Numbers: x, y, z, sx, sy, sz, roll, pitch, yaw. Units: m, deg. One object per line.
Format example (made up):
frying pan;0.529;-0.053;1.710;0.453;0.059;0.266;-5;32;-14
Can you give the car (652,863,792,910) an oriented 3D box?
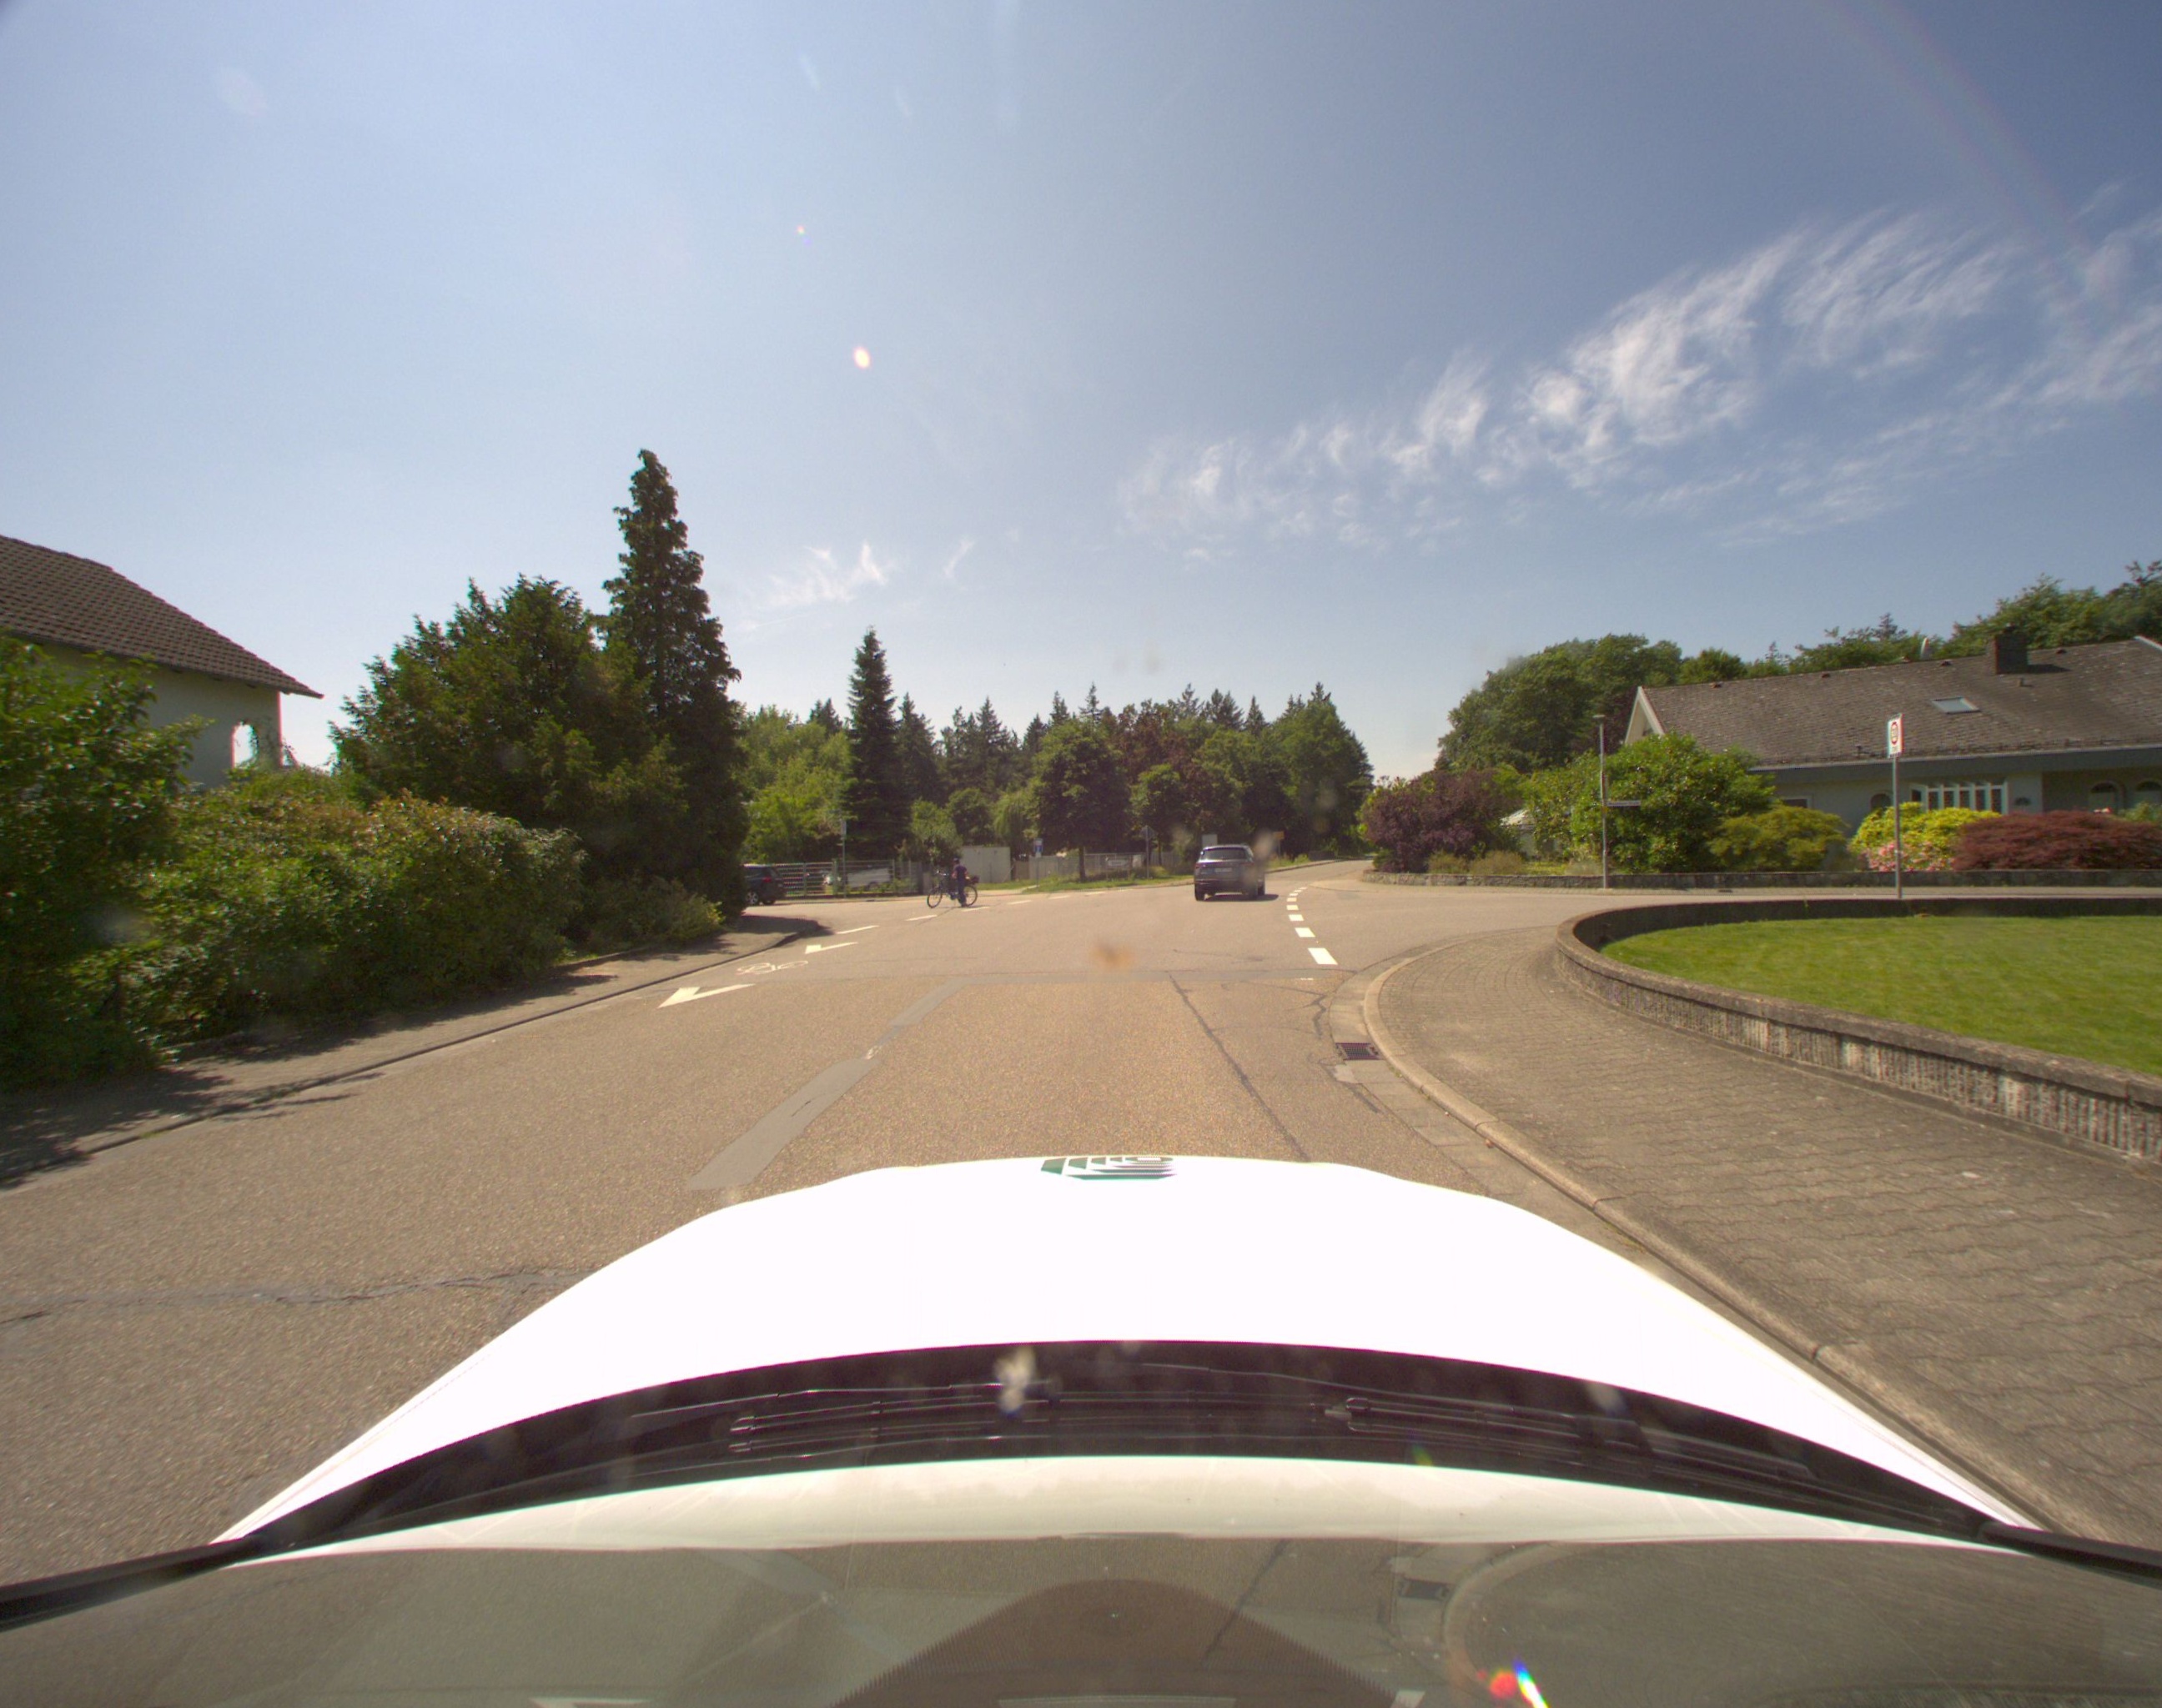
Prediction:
car;-14.238;1.275;32.504;4.651;1.662;1.969;-2;0;0

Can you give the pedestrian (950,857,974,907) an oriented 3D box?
pedestrian;-3.657;0.856;25.062;0.611;1.501;0.501;-2;0;-18

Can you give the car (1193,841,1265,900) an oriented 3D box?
car;4.527;0.464;24.454;1.749;1.618;4.017;-1;0;16

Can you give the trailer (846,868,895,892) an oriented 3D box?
trailer;-10.357;1.278;40.133;2.214;1.084;1.103;-2;0;-8

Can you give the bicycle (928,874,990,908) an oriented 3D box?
bicycle;-3.815;1.150;25.520;1.848;0.964;0.440;-2;0;-19
